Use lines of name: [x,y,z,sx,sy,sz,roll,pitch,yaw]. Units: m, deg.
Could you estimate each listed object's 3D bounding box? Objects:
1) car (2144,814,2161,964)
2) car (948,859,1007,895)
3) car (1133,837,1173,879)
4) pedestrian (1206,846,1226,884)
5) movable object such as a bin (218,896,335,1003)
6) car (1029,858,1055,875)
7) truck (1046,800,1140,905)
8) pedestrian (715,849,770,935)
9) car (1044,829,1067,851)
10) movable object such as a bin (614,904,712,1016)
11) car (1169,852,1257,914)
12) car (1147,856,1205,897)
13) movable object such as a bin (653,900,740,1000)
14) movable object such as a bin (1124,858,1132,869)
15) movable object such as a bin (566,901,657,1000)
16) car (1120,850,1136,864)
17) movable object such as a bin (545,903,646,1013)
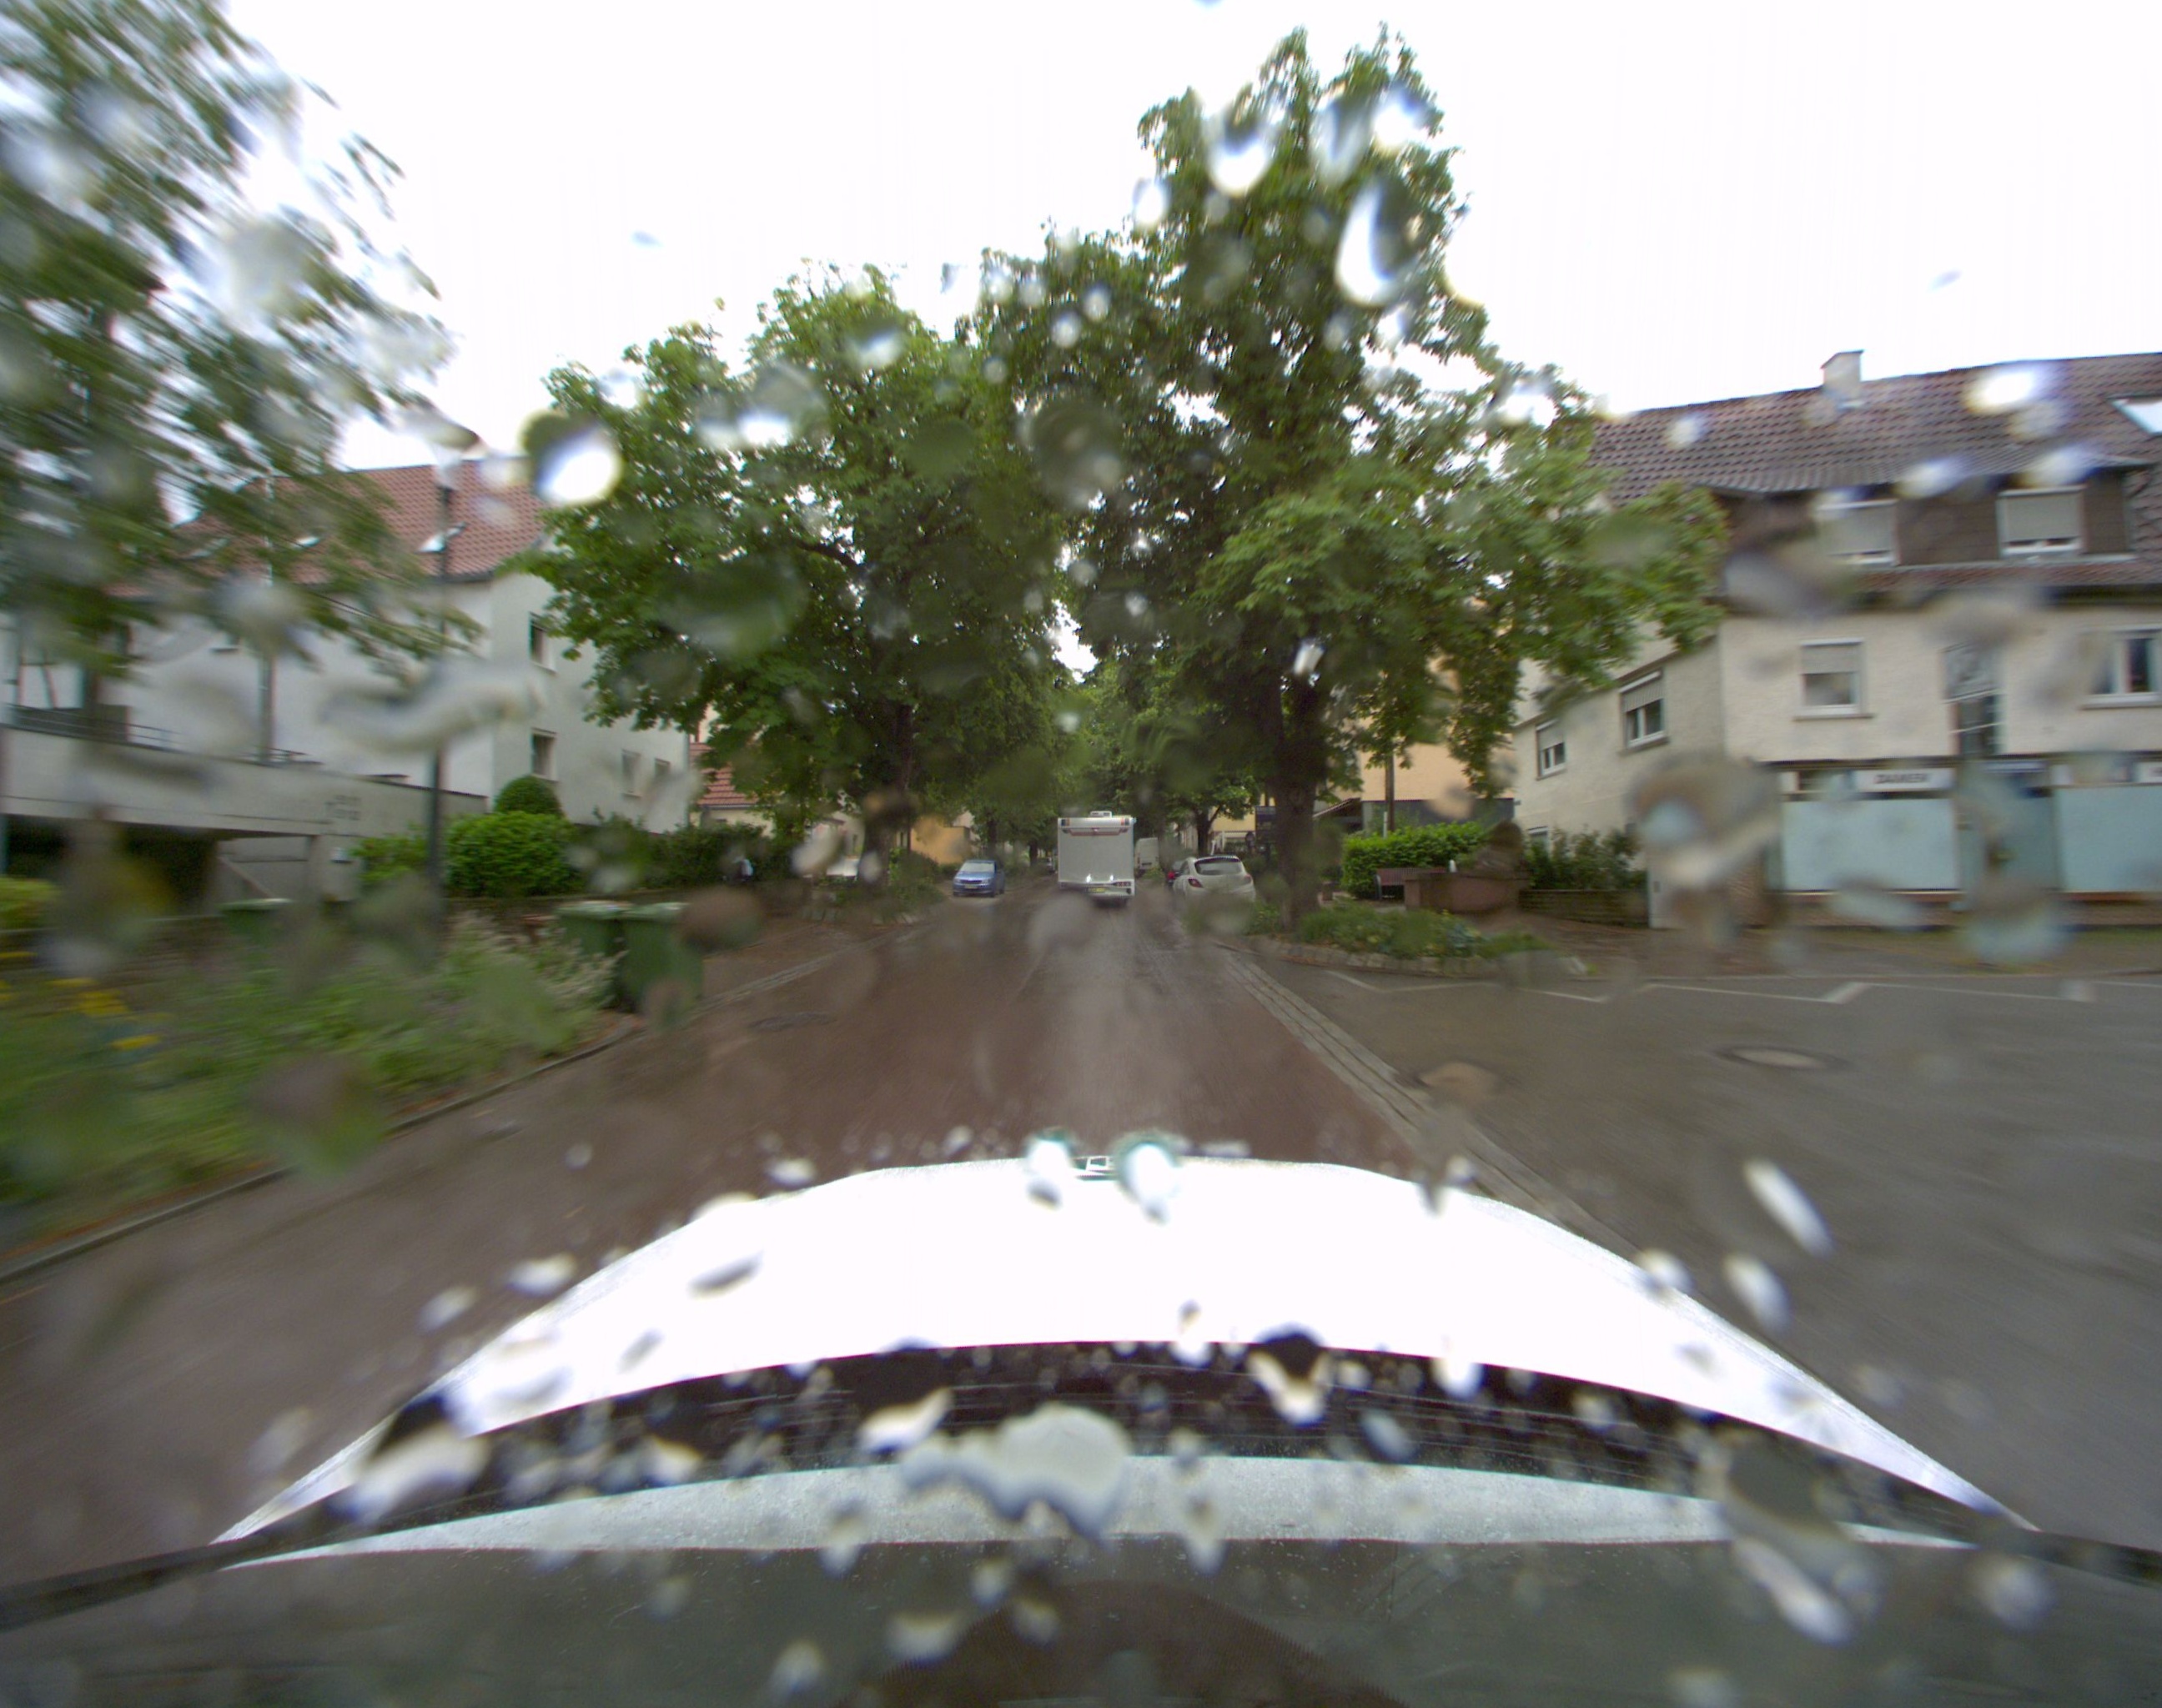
car: [13.314,0.290,7.528,4.158,1.584,1.844,-2,-1,7]
car: [-4.140,0.894,33.186,1.742,1.396,3.798,-1,0,2]
car: [4.440,0.262,51.009,2.133,2.460,5.437,-1,0,2]
pedestrian: [6.210,0.517,37.429,0.765,1.731,0.492,-1,0,-4]
movable object such as a bin: [-9.061,1.057,9.192,0.659,1.133,0.659,-1,-1,4]
car: [-3.315,1.044,69.877,1.765,1.389,4.549,1,0,3]
truck: [0.450,-0.014,26.496,2.684,2.986,6.239,-1,0,2]
pedestrian: [-6.480,0.718,15.634,0.647,1.594,0.932,-1,-1,2]
car: [-2.482,-1.342,80.474,1.986,2.014,4.002,-1,0,2]
movable object such as a bin: [-4.308,1.072,8.414,0.660,1.074,0.597,-2,-1,6]
car: [3.298,0.696,20.964,1.675,1.399,3.795,-1,0,1]
car: [3.469,0.779,30.237,1.802,1.411,3.784,-1,0,1]
movable object such as a bin: [-4.367,1.080,9.277,0.660,1.067,0.597,-2,-1,6]
movable object such as a bin: [4.485,0.891,77.692,0.686,1.082,0.540,0,-1,-3]
movable object such as a bin: [-5.410,1.098,9.406,0.660,1.074,0.597,-2,-1,6]
car: [6.225,0.393,107.696,1.907,1.792,4.490,-1,0,2]
movable object such as a bin: [-5.084,1.076,8.554,0.660,1.074,0.597,-2,-1,6]
